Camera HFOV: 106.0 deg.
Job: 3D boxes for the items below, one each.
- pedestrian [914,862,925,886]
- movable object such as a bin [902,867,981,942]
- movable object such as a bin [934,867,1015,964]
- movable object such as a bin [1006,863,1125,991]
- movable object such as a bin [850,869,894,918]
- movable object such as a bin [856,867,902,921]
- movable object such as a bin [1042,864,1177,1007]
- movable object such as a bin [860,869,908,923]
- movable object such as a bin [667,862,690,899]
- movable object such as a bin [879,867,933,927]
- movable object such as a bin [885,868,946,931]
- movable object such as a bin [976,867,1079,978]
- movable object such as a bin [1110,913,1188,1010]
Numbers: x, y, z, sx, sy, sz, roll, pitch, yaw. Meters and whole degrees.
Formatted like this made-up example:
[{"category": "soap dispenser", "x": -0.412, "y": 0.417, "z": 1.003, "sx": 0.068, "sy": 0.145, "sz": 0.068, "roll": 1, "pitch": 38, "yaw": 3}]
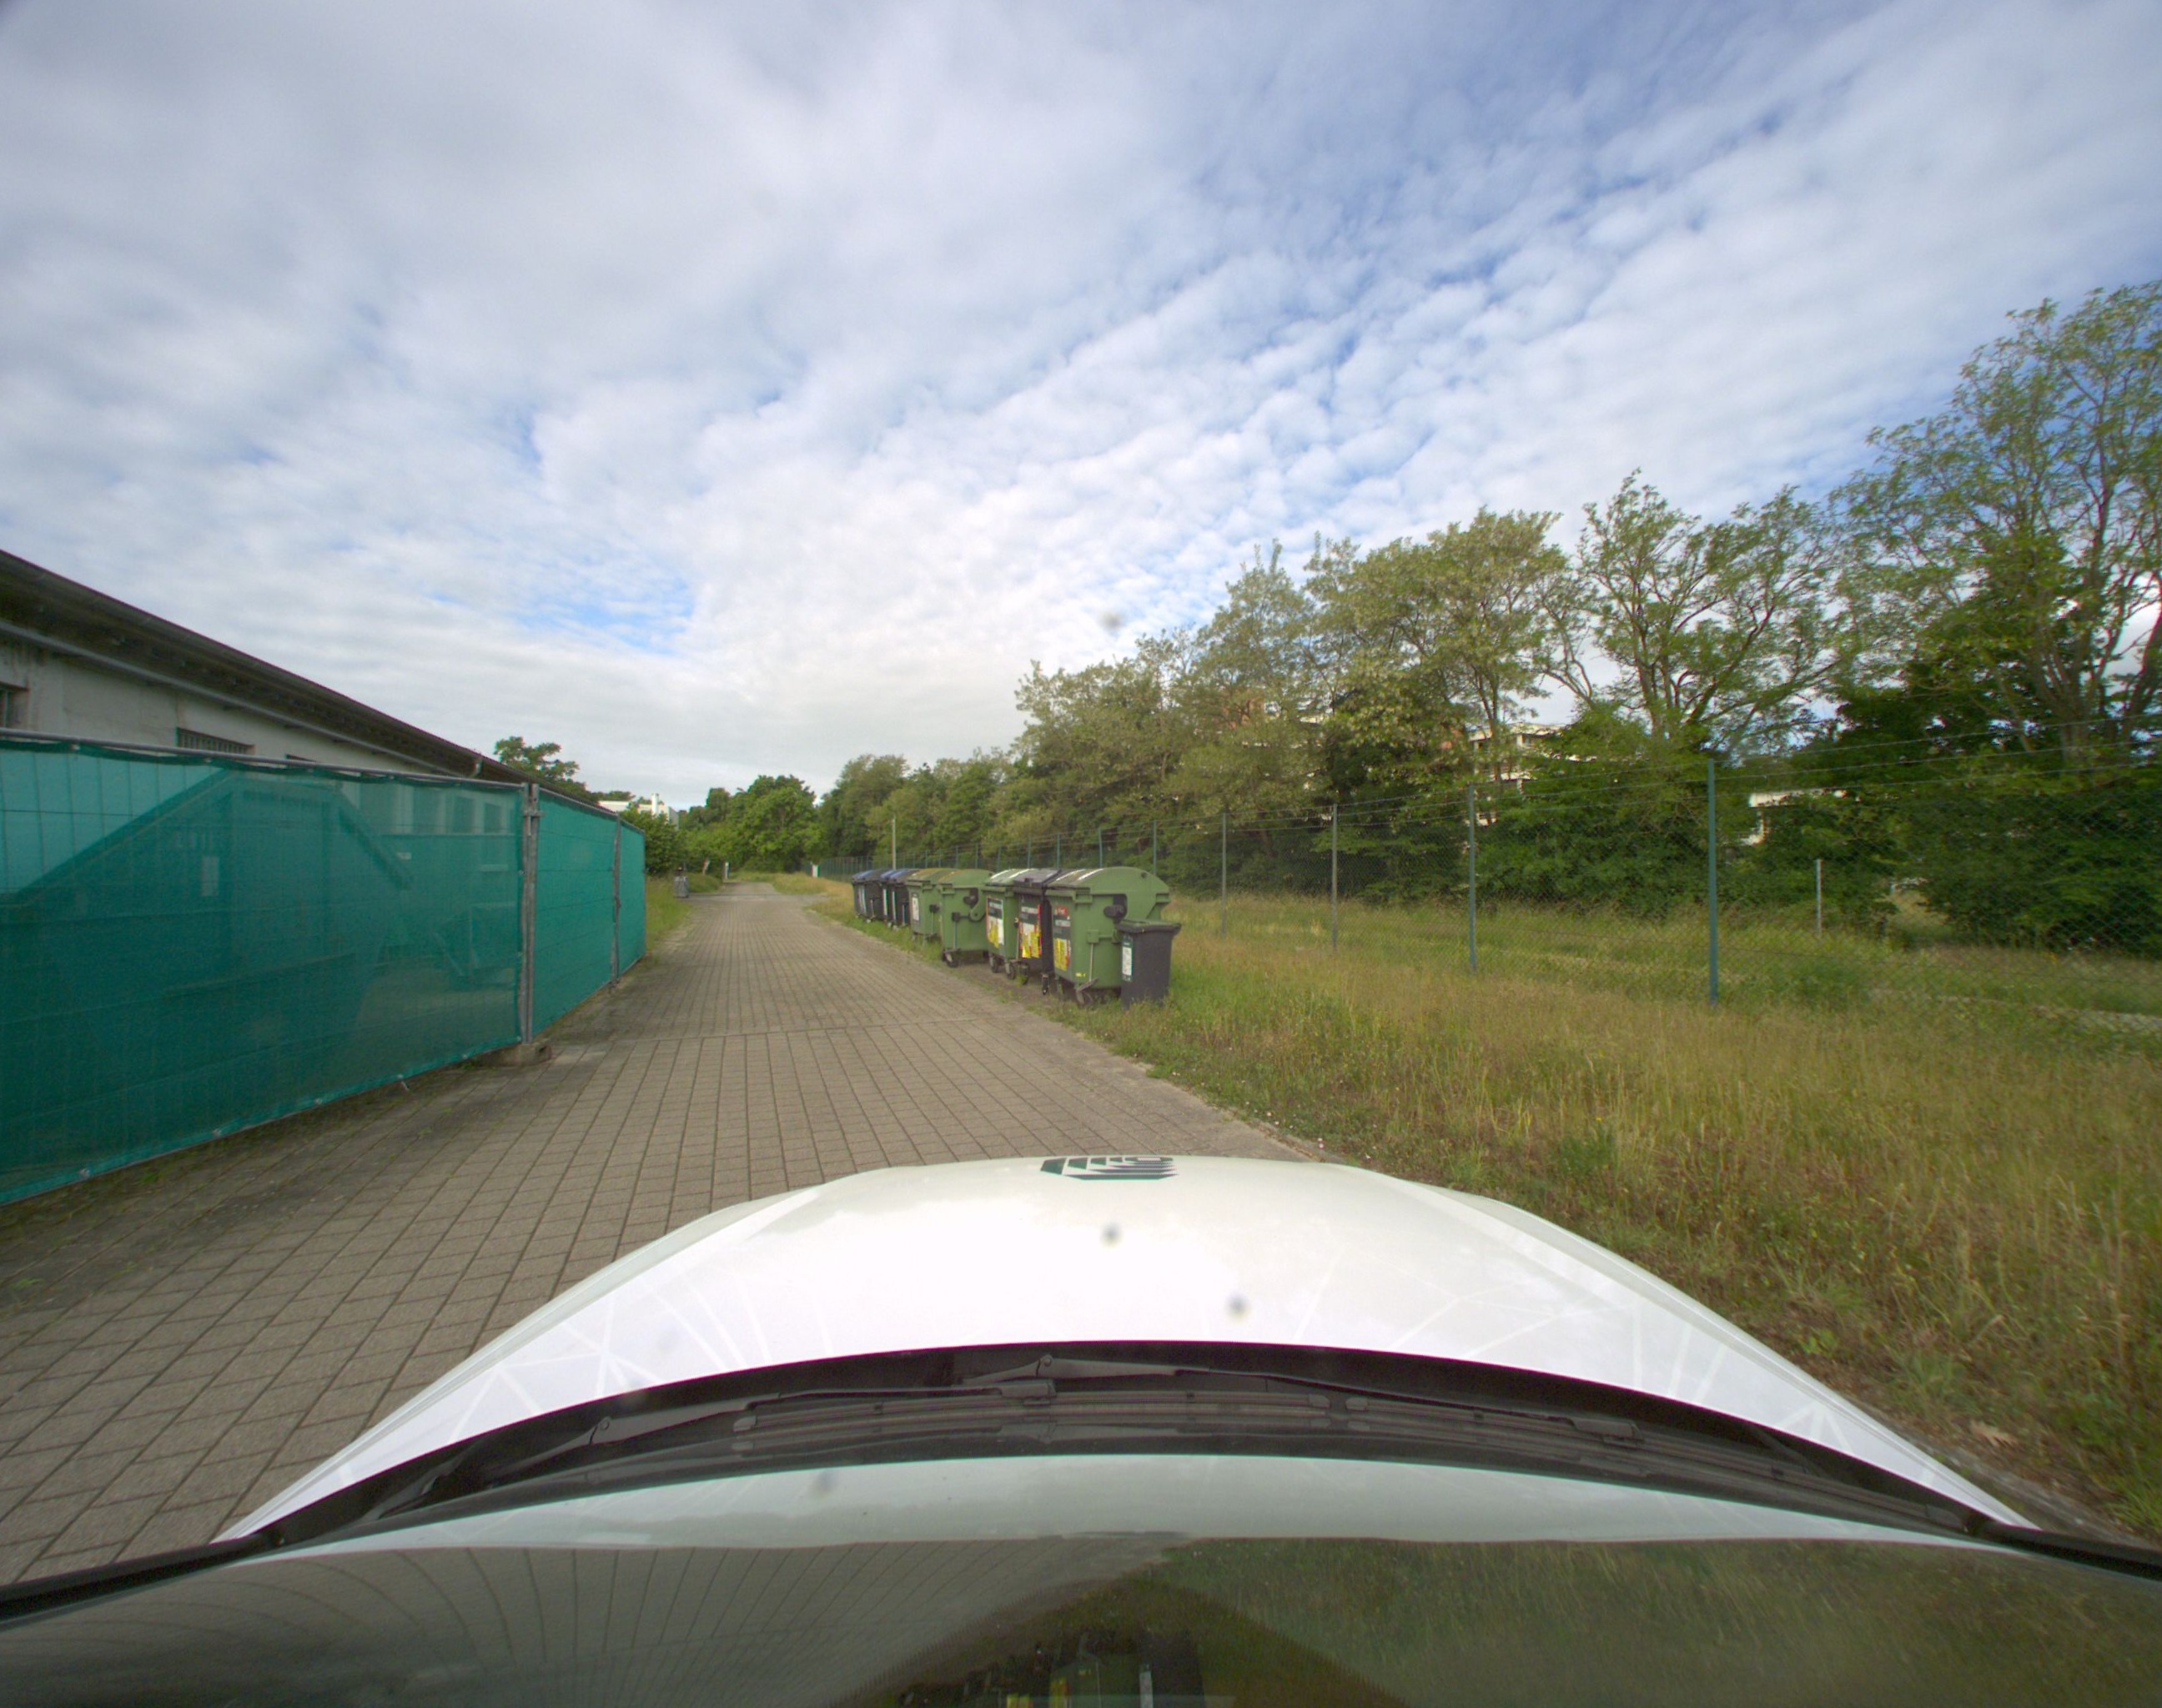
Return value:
[{"category": "pedestrian", "x": -13.238, "y": 1.637, "z": 66.813, "sx": 0.763, "sy": 2.014, "sz": 0.658, "roll": 0, "pitch": -1, "yaw": -24}, {"category": "movable object such as a bin", "x": -2.578, "y": 0.897, "z": 14.963, "sx": 1.128, "sy": 1.296, "sz": 1.368, "roll": 1, "pitch": -2, "yaw": -24}, {"category": "movable object such as a bin", "x": -1.673, "y": 0.916, "z": 12.549, "sx": 1.124, "sy": 1.398, "sz": 1.379, "roll": 1, "pitch": -2, "yaw": -12}, {"category": "movable object such as a bin", "x": -0.220, "y": 0.850, "z": 10.020, "sx": 1.073, "sy": 1.435, "sz": 1.388, "roll": 1, "pitch": -2, "yaw": -20}, {"category": "movable object such as a bin", "x": -5.979, "y": 1.117, "z": 23.261, "sx": 1.125, "sy": 1.351, "sz": 1.417, "roll": 1, "pitch": -2, "yaw": -17}, {"category": "movable object such as a bin", "x": -5.444, "y": 1.066, "z": 21.930, "sx": 1.125, "sy": 1.379, "sz": 1.317, "roll": 1, "pitch": -2, "yaw": -17}, {"category": "movable object such as a bin", "x": 0.268, "y": 0.824, "z": 8.763, "sx": 1.130, "sy": 1.396, "sz": 1.349, "roll": 1, "pitch": -2, "yaw": -14}, {"category": "movable object such as a bin", "x": -5.024, "y": 1.045, "z": 20.705, "sx": 1.125, "sy": 1.321, "sz": 1.317, "roll": 0, "pitch": -1, "yaw": -17}, {"category": "movable object such as a bin", "x": -21.603, "y": 1.423, "z": 43.707, "sx": 0.936, "sy": 1.982, "sz": 0.849, "roll": 0, "pitch": -1, "yaw": -14}, {"category": "movable object such as a bin", "x": -4.197, "y": 1.016, "z": 19.435, "sx": 1.125, "sy": 1.374, "sz": 1.484, "roll": 1, "pitch": -2, "yaw": -17}, {"category": "movable object such as a bin", "x": -3.668, "y": 0.990, "z": 17.955, "sx": 1.157, "sy": 1.325, "sz": 1.484, "roll": 1, "pitch": -2, "yaw": -17}, {"category": "movable object such as a bin", "x": -0.766, "y": 0.901, "z": 11.225, "sx": 1.073, "sy": 1.406, "sz": 1.375, "roll": 1, "pitch": -2, "yaw": -20}, {"category": "movable object such as a bin", "x": 0.644, "y": 1.013, "z": 7.870, "sx": 0.600, "sy": 0.866, "sz": 0.583, "roll": 1, "pitch": -2, "yaw": -14}]
